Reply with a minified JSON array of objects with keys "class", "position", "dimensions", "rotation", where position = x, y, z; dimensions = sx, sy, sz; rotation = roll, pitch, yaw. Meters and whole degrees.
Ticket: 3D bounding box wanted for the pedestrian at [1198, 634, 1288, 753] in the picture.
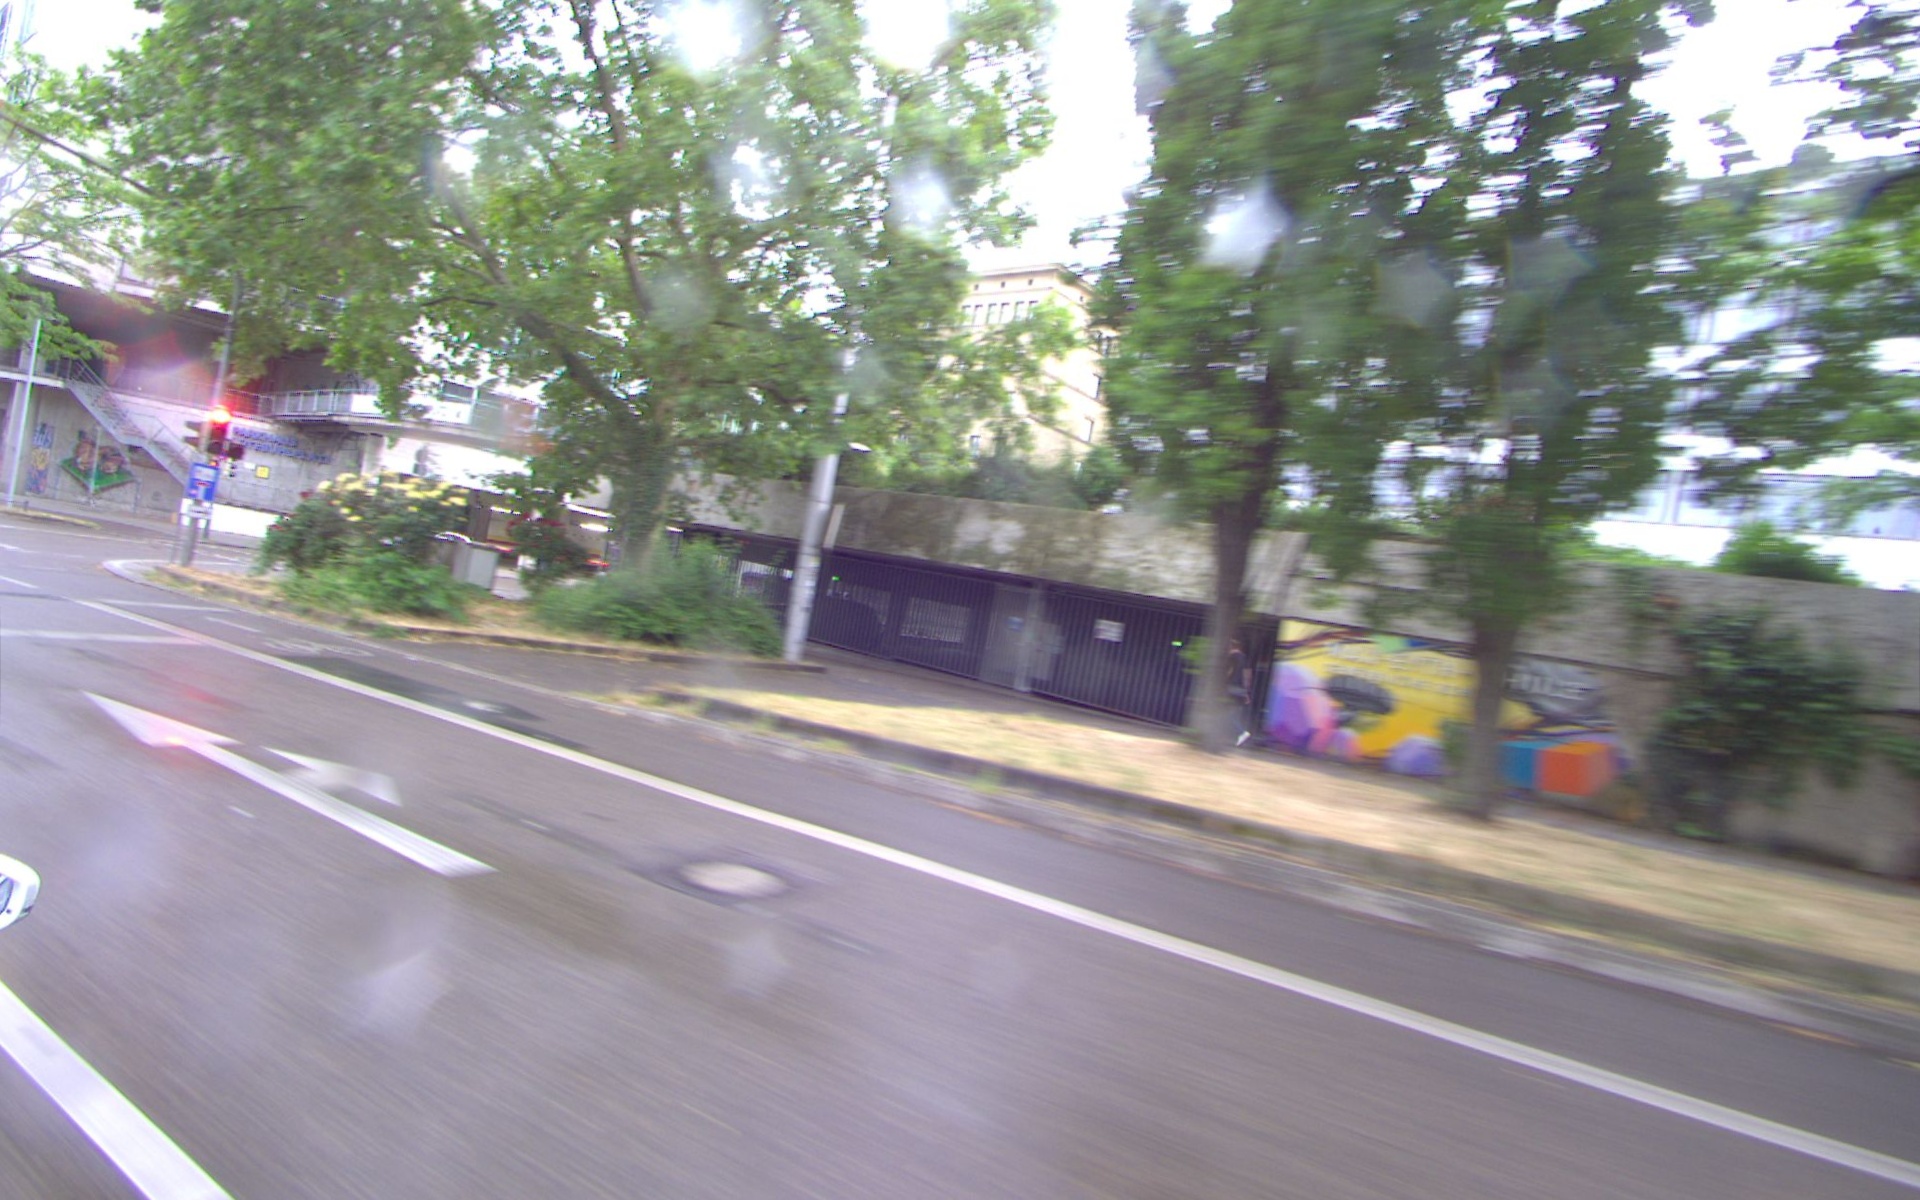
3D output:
[{"class":"pedestrian","position":[4.929,1.618,17.525],"dimensions":[1.041,1.887,0.806],"rotation":[8,1,41]}]
